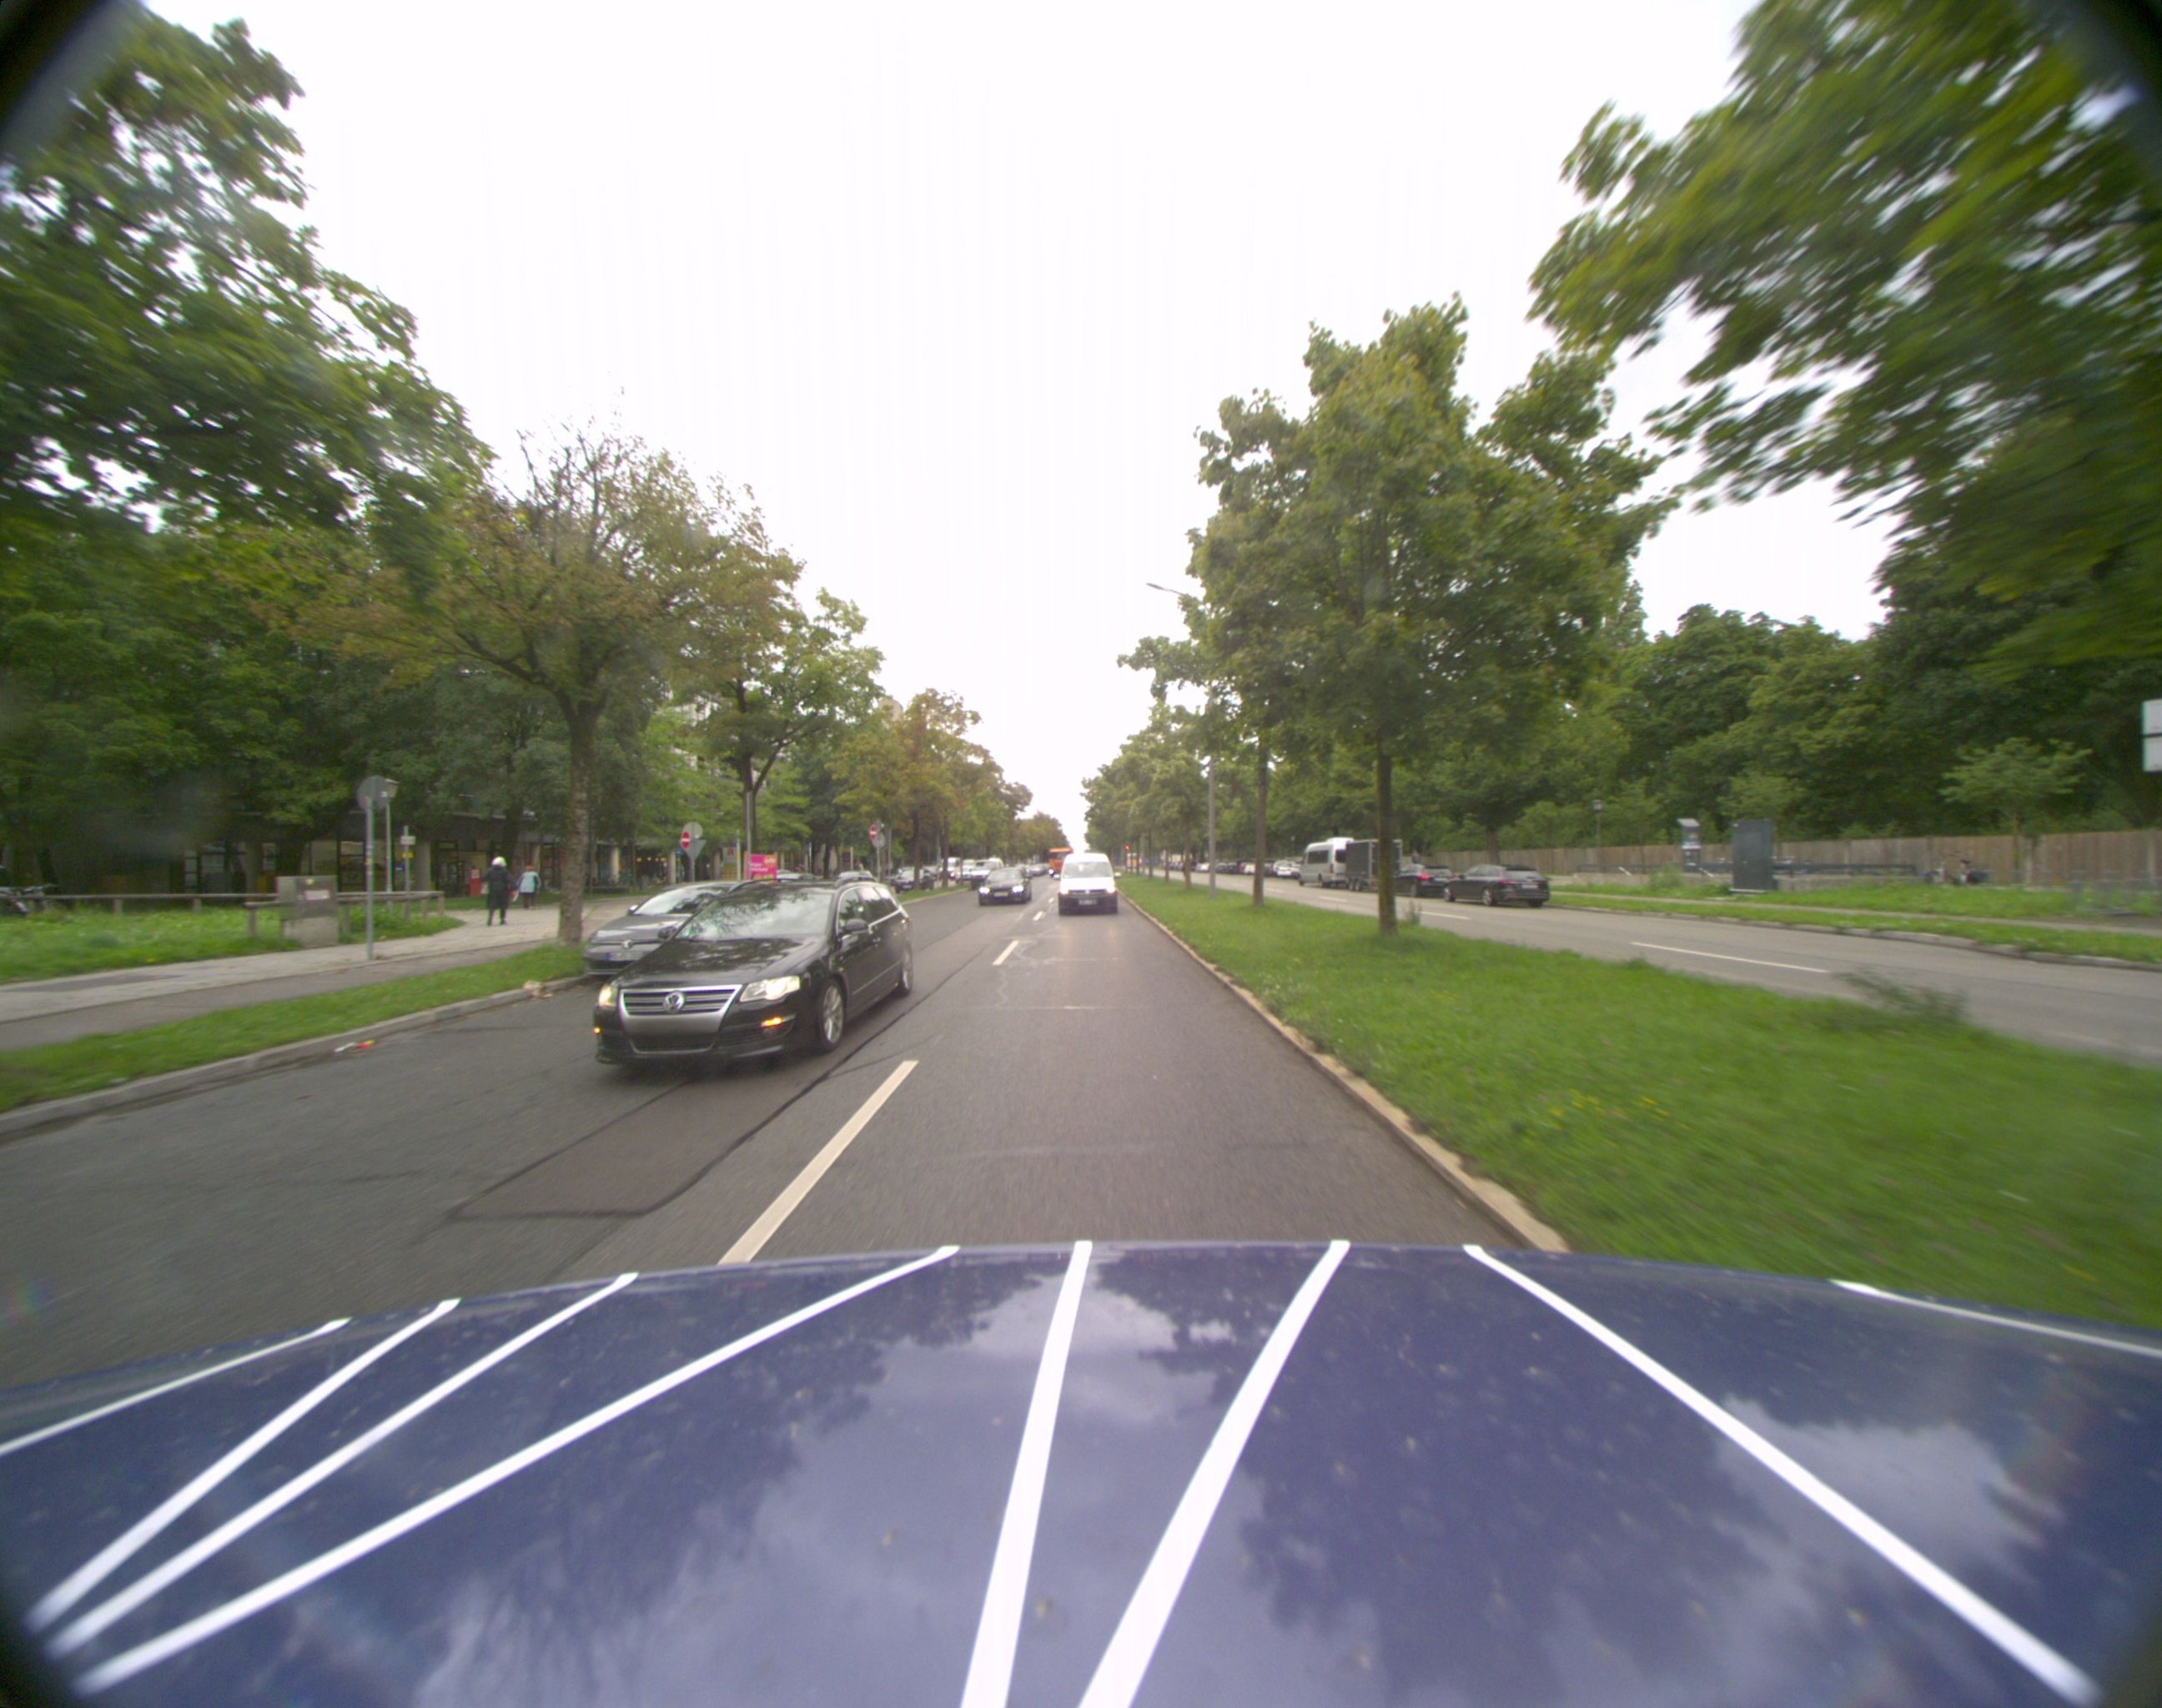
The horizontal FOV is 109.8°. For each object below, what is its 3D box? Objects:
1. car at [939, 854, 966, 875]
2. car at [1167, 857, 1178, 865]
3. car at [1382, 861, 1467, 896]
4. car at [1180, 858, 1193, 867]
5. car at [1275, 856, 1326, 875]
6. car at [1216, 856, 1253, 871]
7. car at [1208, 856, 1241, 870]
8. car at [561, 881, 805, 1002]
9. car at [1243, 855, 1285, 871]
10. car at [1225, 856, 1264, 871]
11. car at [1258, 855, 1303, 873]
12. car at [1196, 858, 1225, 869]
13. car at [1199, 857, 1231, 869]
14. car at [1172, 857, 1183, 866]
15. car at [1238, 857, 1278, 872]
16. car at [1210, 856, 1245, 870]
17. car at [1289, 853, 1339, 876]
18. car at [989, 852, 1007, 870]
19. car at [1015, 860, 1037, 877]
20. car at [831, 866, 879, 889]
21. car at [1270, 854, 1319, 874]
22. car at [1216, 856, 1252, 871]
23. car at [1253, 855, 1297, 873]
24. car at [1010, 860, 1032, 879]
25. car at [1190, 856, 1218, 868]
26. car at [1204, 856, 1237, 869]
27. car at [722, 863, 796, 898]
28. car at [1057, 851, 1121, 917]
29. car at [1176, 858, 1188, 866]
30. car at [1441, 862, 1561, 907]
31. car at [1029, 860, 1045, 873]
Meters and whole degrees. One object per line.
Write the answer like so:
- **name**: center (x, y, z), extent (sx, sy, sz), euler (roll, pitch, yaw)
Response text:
- **car**: center (-15.953, 1.312, 94.729), extent (2.268, 2.514, 5.858), euler (-1, 0, 1)
- **car**: center (17.572, 1.281, 145.835), extent (1.889, 1.435, 4.170), euler (-2, 0, 4)
- **car**: center (14.776, 1.015, 32.934), extent (1.805, 1.376, 4.238), euler (0, 0, 1)
- **car**: center (17.421, 1.385, 125.623), extent (1.889, 1.435, 4.170), euler (-2, 0, 4)
- **car**: center (18.623, 0.958, 64.424), extent (4.331, 1.430, 1.797), euler (-2, 0, -34)
- **car**: center (17.996, 1.086, 88.969), extent (4.006, 1.548, 1.887), euler (-3, -1, -32)
- **car**: center (18.717, 1.188, 99.025), extent (4.006, 1.548, 1.887), euler (-3, -1, -32)
- **car**: center (-6.174, 1.262, 12.418), extent (1.686, 1.457, 4.115), euler (-2, 0, 2)
- **car**: center (19.332, 0.961, 80.357), extent (4.005, 1.455, 1.888), euler (-3, -1, -27)
- **car**: center (18.620, 1.070, 86.399), extent (4.005, 1.548, 1.888), euler (-3, -1, -27)
- **car**: center (18.634, 0.960, 71.069), extent (4.006, 1.477, 1.797), euler (-3, -1, -34)
- **car**: center (18.410, 1.327, 107.826), extent (4.006, 1.358, 1.588), euler (-2, 0, -30)
- **car**: center (18.413, 1.240, 104.566), extent (4.006, 1.548, 1.887), euler (-3, -1, -32)
- **car**: center (17.441, 1.302, 137.507), extent (1.889, 1.435, 4.170), euler (-2, 0, 4)
- **car**: center (19.413, 1.131, 83.405), extent (4.005, 1.446, 1.737), euler (-3, -1, -27)
- **car**: center (18.458, 1.143, 95.552), extent (4.006, 1.548, 1.887), euler (-3, -1, -32)
- **car**: center (18.803, 0.842, 61.268), extent (4.007, 1.613, 1.797), euler (-2, 0, -35)
- **car**: center (-12.899, 1.038, 117.893), extent (1.978, 2.641, 6.006), euler (-2, 0, 0)
- **car**: center (-5.661, 1.482, 78.544), extent (1.686, 1.513, 4.465), euler (-4, 0, 1)
- **car**: center (-15.797, 1.603, 53.324), extent (1.826, 1.522, 4.603), euler (0, 0, 2)
- **car**: center (19.134, 0.881, 68.082), extent (4.331, 1.564, 1.797), euler (-2, 0, -34)
- **car**: center (18.613, 1.171, 92.622), extent (4.006, 1.548, 1.887), euler (-3, -1, -32)
- **car**: center (18.935, 0.963, 74.131), extent (4.005, 1.577, 1.798), euler (-3, -1, -28)
- **car**: center (-5.749, 1.435, 73.135), extent (1.686, 1.632, 4.465), euler (-4, 0, 0)
- **car**: center (18.591, 1.177, 114.445), extent (4.006, 1.718, 1.777), euler (-2, 0, -34)
- **car**: center (18.740, 1.175, 102.097), extent (4.006, 1.548, 1.887), euler (-3, -1, -32)
- **car**: center (-16.176, 1.291, 38.417), extent (1.826, 1.624, 4.198), euler (0, 0, 3)
- **car**: center (0.201, 0.870, 24.174), extent (1.750, 1.807, 4.667), euler (-2, 0, -1)
- **car**: center (17.453, 1.370, 131.772), extent (1.741, 1.363, 4.170), euler (-2, 0, 4)
- **car**: center (14.543, 1.003, 26.625), extent (1.805, 1.417, 4.431), euler (0, 0, 1)
- **car**: center (-5.523, 1.606, 95.750), extent (1.735, 1.498, 4.442), euler (-2, 0, -1)
